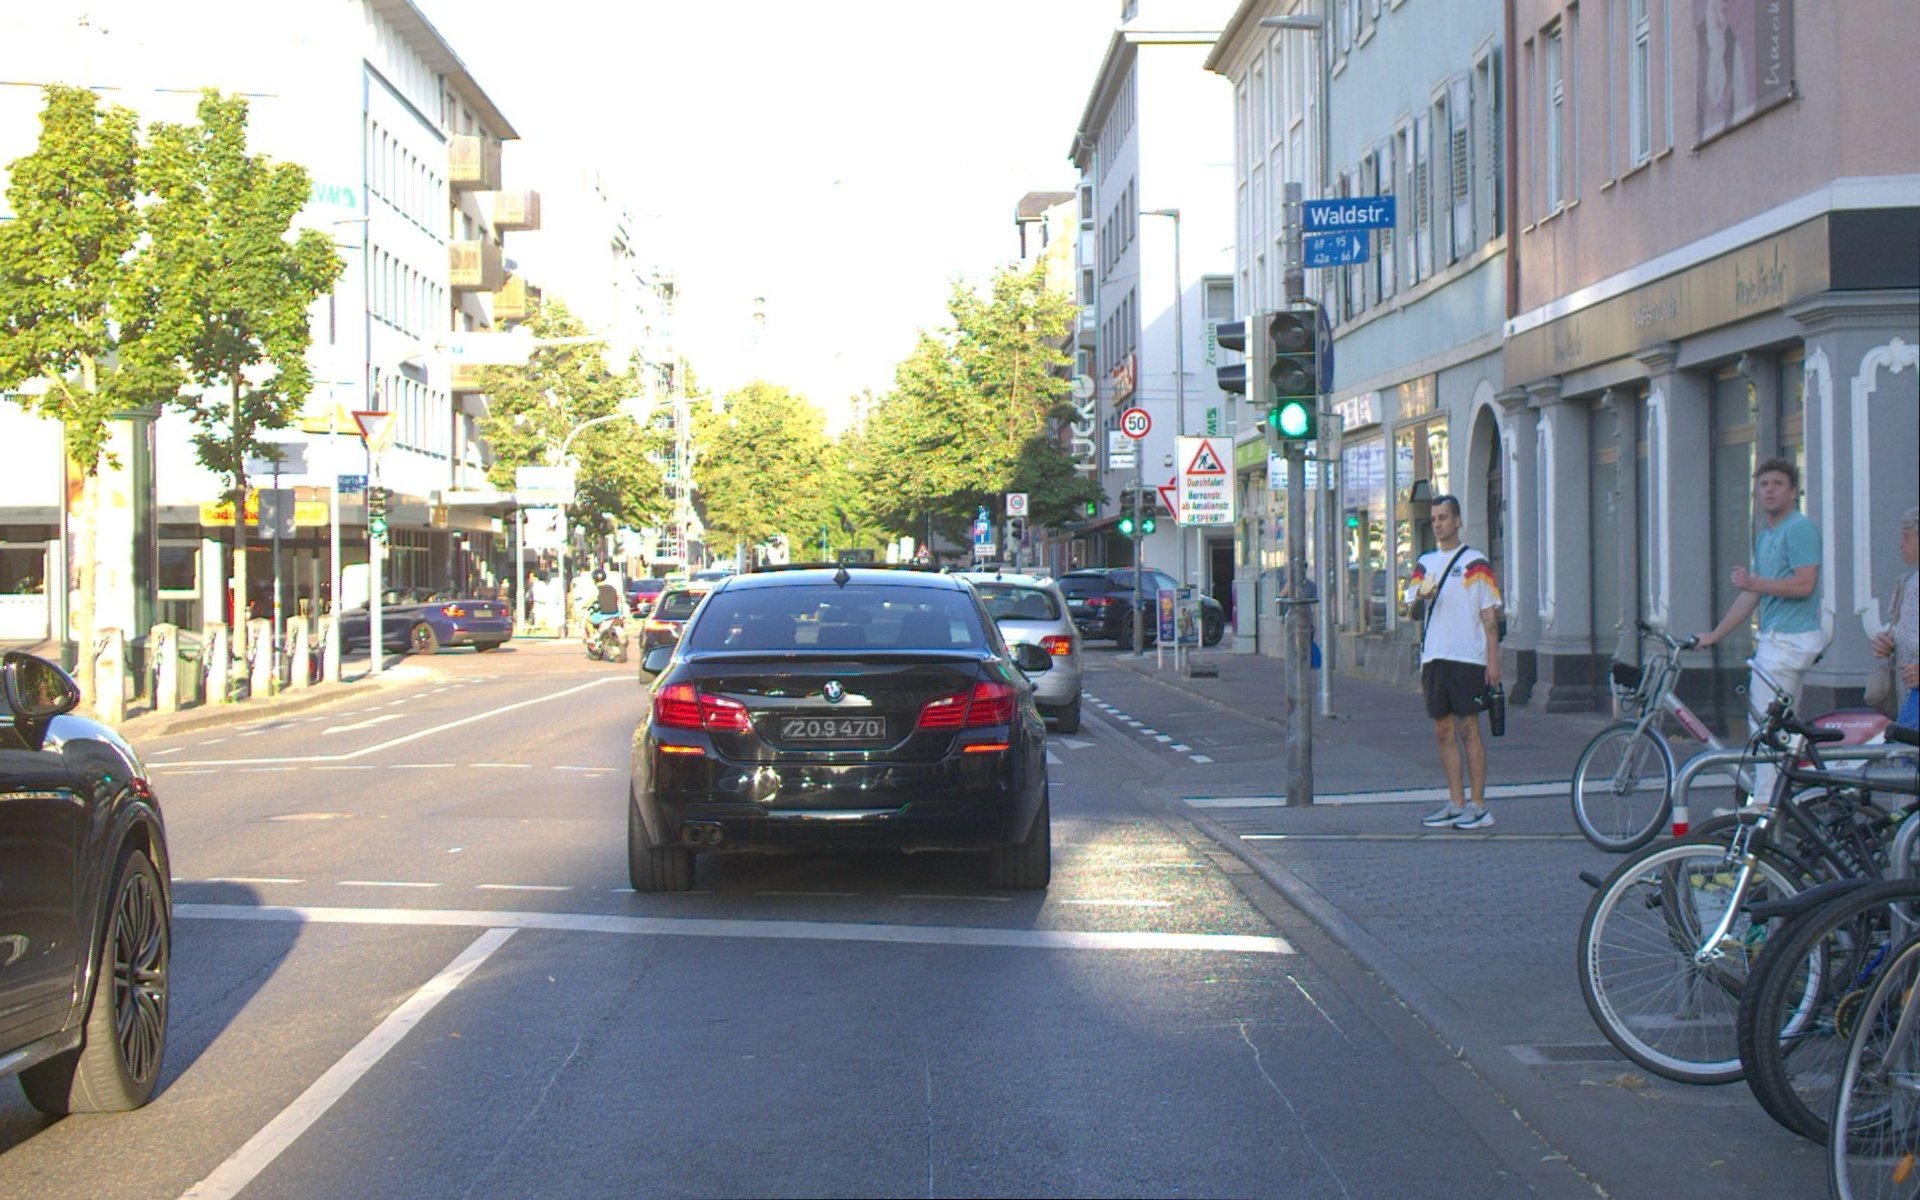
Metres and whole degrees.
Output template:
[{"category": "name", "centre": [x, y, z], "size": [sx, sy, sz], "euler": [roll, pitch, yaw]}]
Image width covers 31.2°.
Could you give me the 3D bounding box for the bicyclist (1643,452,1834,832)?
[{"category": "bicyclist", "centre": [3.821, 0.198, 16.926], "size": [0.833, 1.820, 0.830], "euler": [0, 0, 7]}]

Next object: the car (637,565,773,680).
[{"category": "car", "centre": [-3.689, 0.292, 50.358], "size": [1.872, 1.590, 4.450], "euler": [0, 1, -3]}]

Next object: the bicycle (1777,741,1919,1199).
[{"category": "bicycle", "centre": [2.932, 0.833, 7.286], "size": [2.169, 1.071, 0.806], "euler": [-1, 1, -7]}]

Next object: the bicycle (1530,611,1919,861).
[{"category": "bicycle", "centre": [3.741, 0.662, 16.938], "size": [1.820, 1.182, 0.793], "euler": [-1, 0, 9]}]

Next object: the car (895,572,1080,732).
[{"category": "car", "centre": [0.292, 0.497, 36.160], "size": [1.832, 1.570, 4.100], "euler": [0, 1, 1]}]

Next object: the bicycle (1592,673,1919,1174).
[{"category": "bicycle", "centre": [2.603, 0.783, 8.869], "size": [1.781, 1.169, 0.622], "euler": [-2, 1, -12]}]

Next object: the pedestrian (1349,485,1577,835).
[{"category": "pedestrian", "centre": [2.790, 0.317, 19.106], "size": [0.937, 1.891, 0.826], "euler": [-1, 0, -26]}]

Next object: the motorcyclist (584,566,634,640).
[{"category": "motorcyclist", "centre": [-6.302, 0.056, 61.682], "size": [0.765, 1.315, 0.995], "euler": [0, 0, -14]}]

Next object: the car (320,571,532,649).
[{"category": "car", "centre": [-10.564, 0.181, 67.939], "size": [3.996, 1.481, 1.995], "euler": [1, 1, 40]}]

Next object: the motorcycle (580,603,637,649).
[{"category": "motorcycle", "centre": [-6.299, 0.454, 61.476], "size": [0.661, 0.778, 2.034], "euler": [0, 1, -16]}]

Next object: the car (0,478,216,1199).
[{"category": "car", "centre": [-3.183, 0.590, 7.694], "size": [1.949, 1.708, 4.561], "euler": [-1, 1, 1]}]

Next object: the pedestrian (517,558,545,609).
[{"category": "pedestrian", "centre": [-14.164, -0.555, 113.507], "size": [0.823, 1.671, 0.871], "euler": [0, 0, -2]}]

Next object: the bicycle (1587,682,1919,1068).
[{"category": "bicycle", "centre": [2.916, 0.803, 10.555], "size": [1.781, 1.060, 0.719], "euler": [-2, 1, -11]}]

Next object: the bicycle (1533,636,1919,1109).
[{"category": "bicycle", "centre": [2.596, 0.730, 9.616], "size": [1.843, 1.235, 0.639], "euler": [-1, 1, -6]}]

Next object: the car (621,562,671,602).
[{"category": "car", "centre": [-11.511, -0.675, 125.878], "size": [1.733, 1.456, 4.001], "euler": [0, 1, -7]}]

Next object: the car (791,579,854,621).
[{"category": "car", "centre": [-4.471, -0.014, 111.209], "size": [1.733, 1.288, 4.001], "euler": [0, 1, -7]}]

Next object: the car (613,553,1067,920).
[{"category": "car", "centre": [-0.576, 0.544, 16.653], "size": [1.903, 1.535, 4.450], "euler": [0, 1, -2]}]

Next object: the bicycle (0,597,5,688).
[{"category": "bicycle", "centre": [-14.488, 0.598, 47.337], "size": [2.443, 1.252, 0.787], "euler": [-1, 0, 1]}]

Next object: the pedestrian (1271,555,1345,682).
[{"category": "pedestrian", "centre": [4.546, 0.237, 44.948], "size": [0.823, 1.636, 0.871], "euler": [-1, 0, -2]}]

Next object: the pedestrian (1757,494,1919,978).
[{"category": "pedestrian", "centre": [3.370, 0.459, 12.139], "size": [0.791, 1.647, 0.778], "euler": [0, 0, 43]}]

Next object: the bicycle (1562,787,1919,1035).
[{"category": "bicycle", "centre": [2.631, 0.996, 11.245], "size": [1.004, 0.679, 1.051], "euler": [-1, 1, -10]}]

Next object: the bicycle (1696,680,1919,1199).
[{"category": "bicycle", "centre": [2.743, 0.776, 8.246], "size": [1.781, 1.169, 0.622], "euler": [-2, 1, -12]}]

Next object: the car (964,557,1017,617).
[{"category": "car", "centre": [0.941, -0.404, 107.660], "size": [1.421, 1.848, 3.053], "euler": [1, 0, -4]}]

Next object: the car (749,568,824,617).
[{"category": "car", "centre": [-5.291, -0.246, 104.432], "size": [1.993, 1.437, 4.001], "euler": [0, 1, -7]}]
